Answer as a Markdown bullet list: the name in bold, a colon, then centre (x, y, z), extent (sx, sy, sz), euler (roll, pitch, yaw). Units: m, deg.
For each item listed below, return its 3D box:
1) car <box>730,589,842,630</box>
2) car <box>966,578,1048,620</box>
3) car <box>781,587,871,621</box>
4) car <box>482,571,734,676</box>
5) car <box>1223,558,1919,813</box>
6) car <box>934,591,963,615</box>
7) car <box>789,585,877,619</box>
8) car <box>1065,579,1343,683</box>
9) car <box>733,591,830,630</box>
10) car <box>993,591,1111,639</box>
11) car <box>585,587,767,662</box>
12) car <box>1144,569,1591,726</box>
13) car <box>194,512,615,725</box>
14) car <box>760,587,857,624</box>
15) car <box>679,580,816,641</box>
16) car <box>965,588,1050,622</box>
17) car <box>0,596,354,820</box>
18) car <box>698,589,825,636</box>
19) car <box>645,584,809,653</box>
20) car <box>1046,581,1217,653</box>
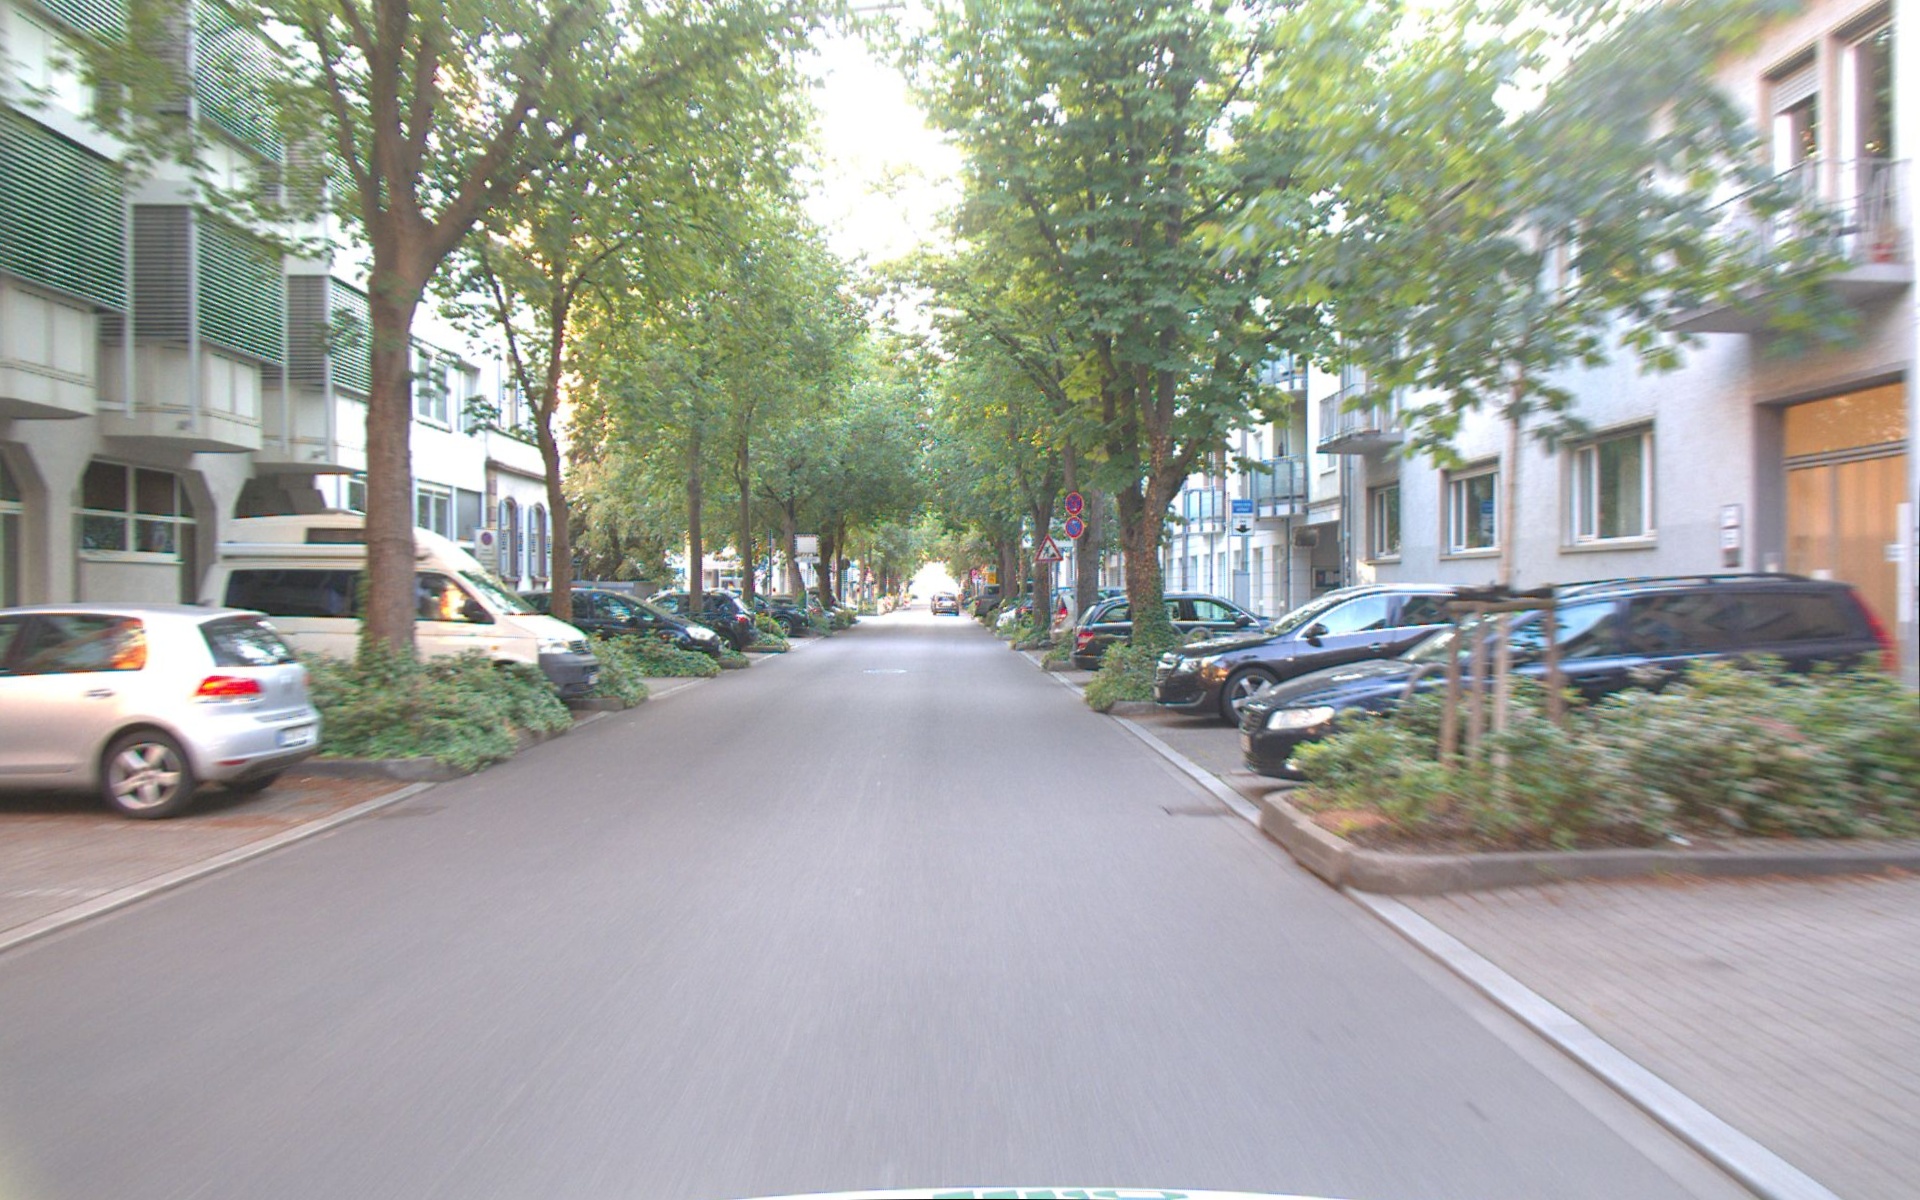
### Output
- **car**: centre (-7.626, 0.407, 72.789), extent (4.666, 1.658, 1.962), euler (-2, 0, -1)
- **car**: centre (2.443, -0.054, 86.712), extent (4.181, 1.996, 1.962), euler (-2, 0, -1)
- **car**: centre (-7.141, 0.191, 88.473), extent (4.666, 1.658, 1.962), euler (-2, 0, -1)
- **car**: centre (-6.975, 0.456, 33.152), extent (4.587, 1.886, 1.962), euler (-2, 0, -1)
- **car**: centre (4.423, 0.566, 12.388), extent (4.620, 1.740, 1.950), euler (0, 1, 1)
- **car**: centre (-0.812, 0.207, 114.013), extent (1.917, 1.593, 4.282), euler (-2, 0, -1)
- **car**: centre (-7.001, 0.108, 91.353), extent (4.666, 1.658, 1.962), euler (-2, 0, -1)
- **car**: centre (4.010, 0.502, 27.797), extent (4.414, 1.548, 1.996), euler (-2, 0, 2)
- **car**: centre (-7.569, 0.436, 70.313), extent (3.906, 1.536, 1.800), euler (-2, 0, -1)
- **car**: centre (3.367, 0.548, 60.917), extent (4.181, 1.593, 1.962), euler (-2, 0, -1)
- **car**: centre (-6.958, 0.587, 40.877), extent (4.118, 1.664, 1.962), euler (-2, 0, -1)
- **car**: centre (4.526, 0.511, 18.895), extent (4.587, 1.548, 1.962), euler (-2, 0, -1)
- **car**: centre (-6.815, 0.220, 20.692), extent (4.587, 2.521, 2.000), euler (0, 0, -1)
- **car**: centre (-7.609, 0.270, 83.421), extent (4.666, 1.658, 1.962), euler (-2, 0, -1)
- **car**: centre (-7.659, 0.366, 60.011), extent (4.666, 2.019, 1.962), euler (-2, 0, -1)
- **car**: centre (2.403, 0.240, 84.080), extent (4.181, 1.593, 1.962), euler (-2, 0, -1)
- **car**: centre (-6.774, 0.745, 12.395), extent (3.791, 1.512, 1.757), euler (1, 0, 1)
- **car**: centre (-7.684, 0.477, 64.332), extent (4.666, 1.658, 1.962), euler (-2, 0, -1)
- **car**: centre (-6.800, 0.528, 48.573), extent (4.502, 1.839, 1.962), euler (-2, 0, -1)
- **car**: centre (4.195, 0.406, 40.912), extent (3.968, 1.625, 1.824), euler (-2, 0, -1)
